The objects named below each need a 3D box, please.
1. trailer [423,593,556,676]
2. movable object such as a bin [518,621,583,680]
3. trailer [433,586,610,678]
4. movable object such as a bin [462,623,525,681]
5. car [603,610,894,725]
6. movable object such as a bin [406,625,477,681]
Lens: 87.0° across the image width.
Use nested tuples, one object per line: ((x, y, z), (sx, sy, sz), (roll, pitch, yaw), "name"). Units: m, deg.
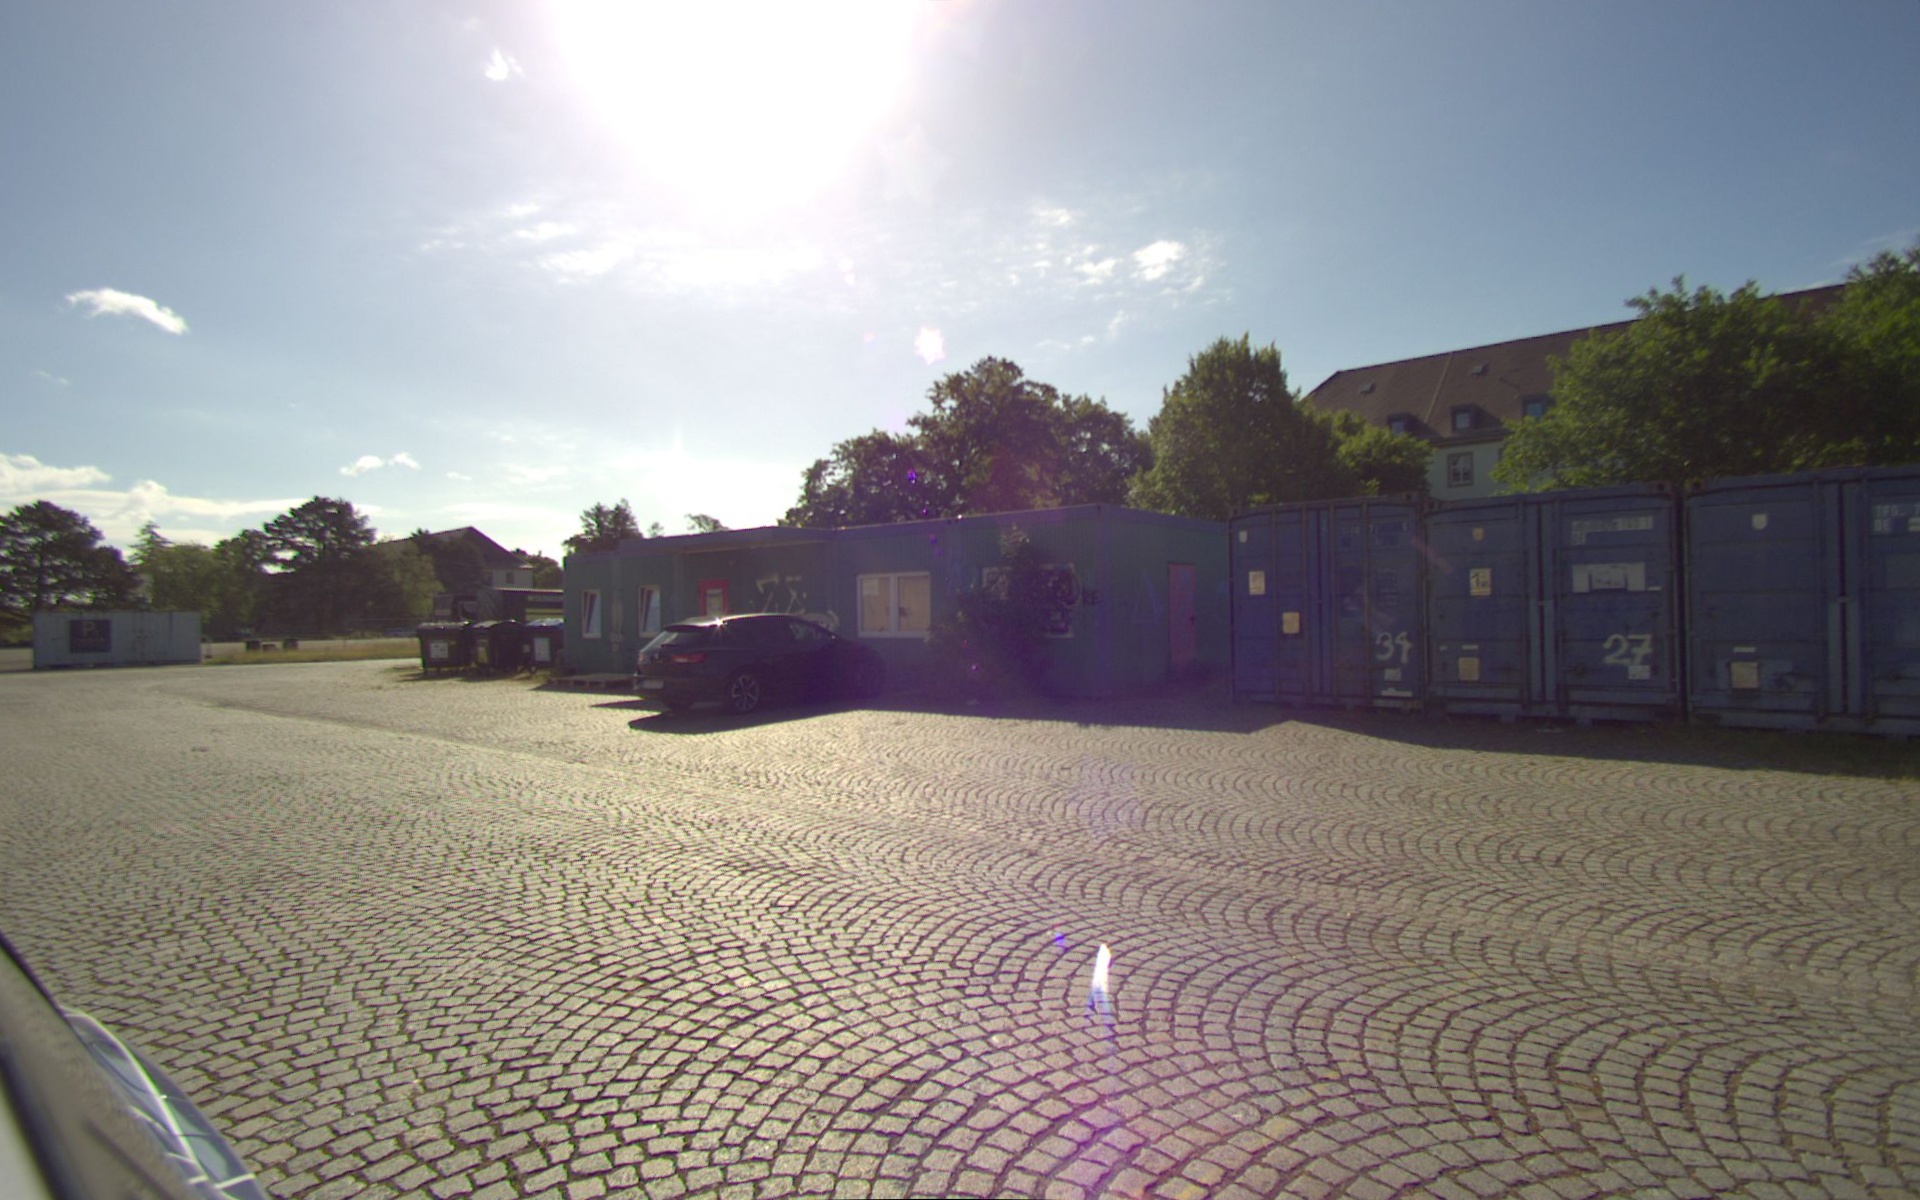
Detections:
((-15.163, 1.054, 32.677), (2.044, 2.488, 3.349), (-2, 0, 42), "trailer")
((-10.726, 1.304, 26.500), (1.435, 1.469, 0.876), (-1, 0, 31), "movable object such as a bin")
((-13.353, 0.901, 31.031), (1.948, 2.587, 4.593), (-1, 0, 37), "trailer")
((-12.466, 1.373, 27.053), (1.440, 1.469, 1.007), (-1, 0, 41), "movable object such as a bin")
((-3.194, 0.954, 15.976), (1.929, 1.460, 4.209), (-1, 0, 39), "car")
((-14.363, 1.449, 28.085), (1.416, 1.469, 1.157), (-1, 0, -6), "movable object such as a bin")
